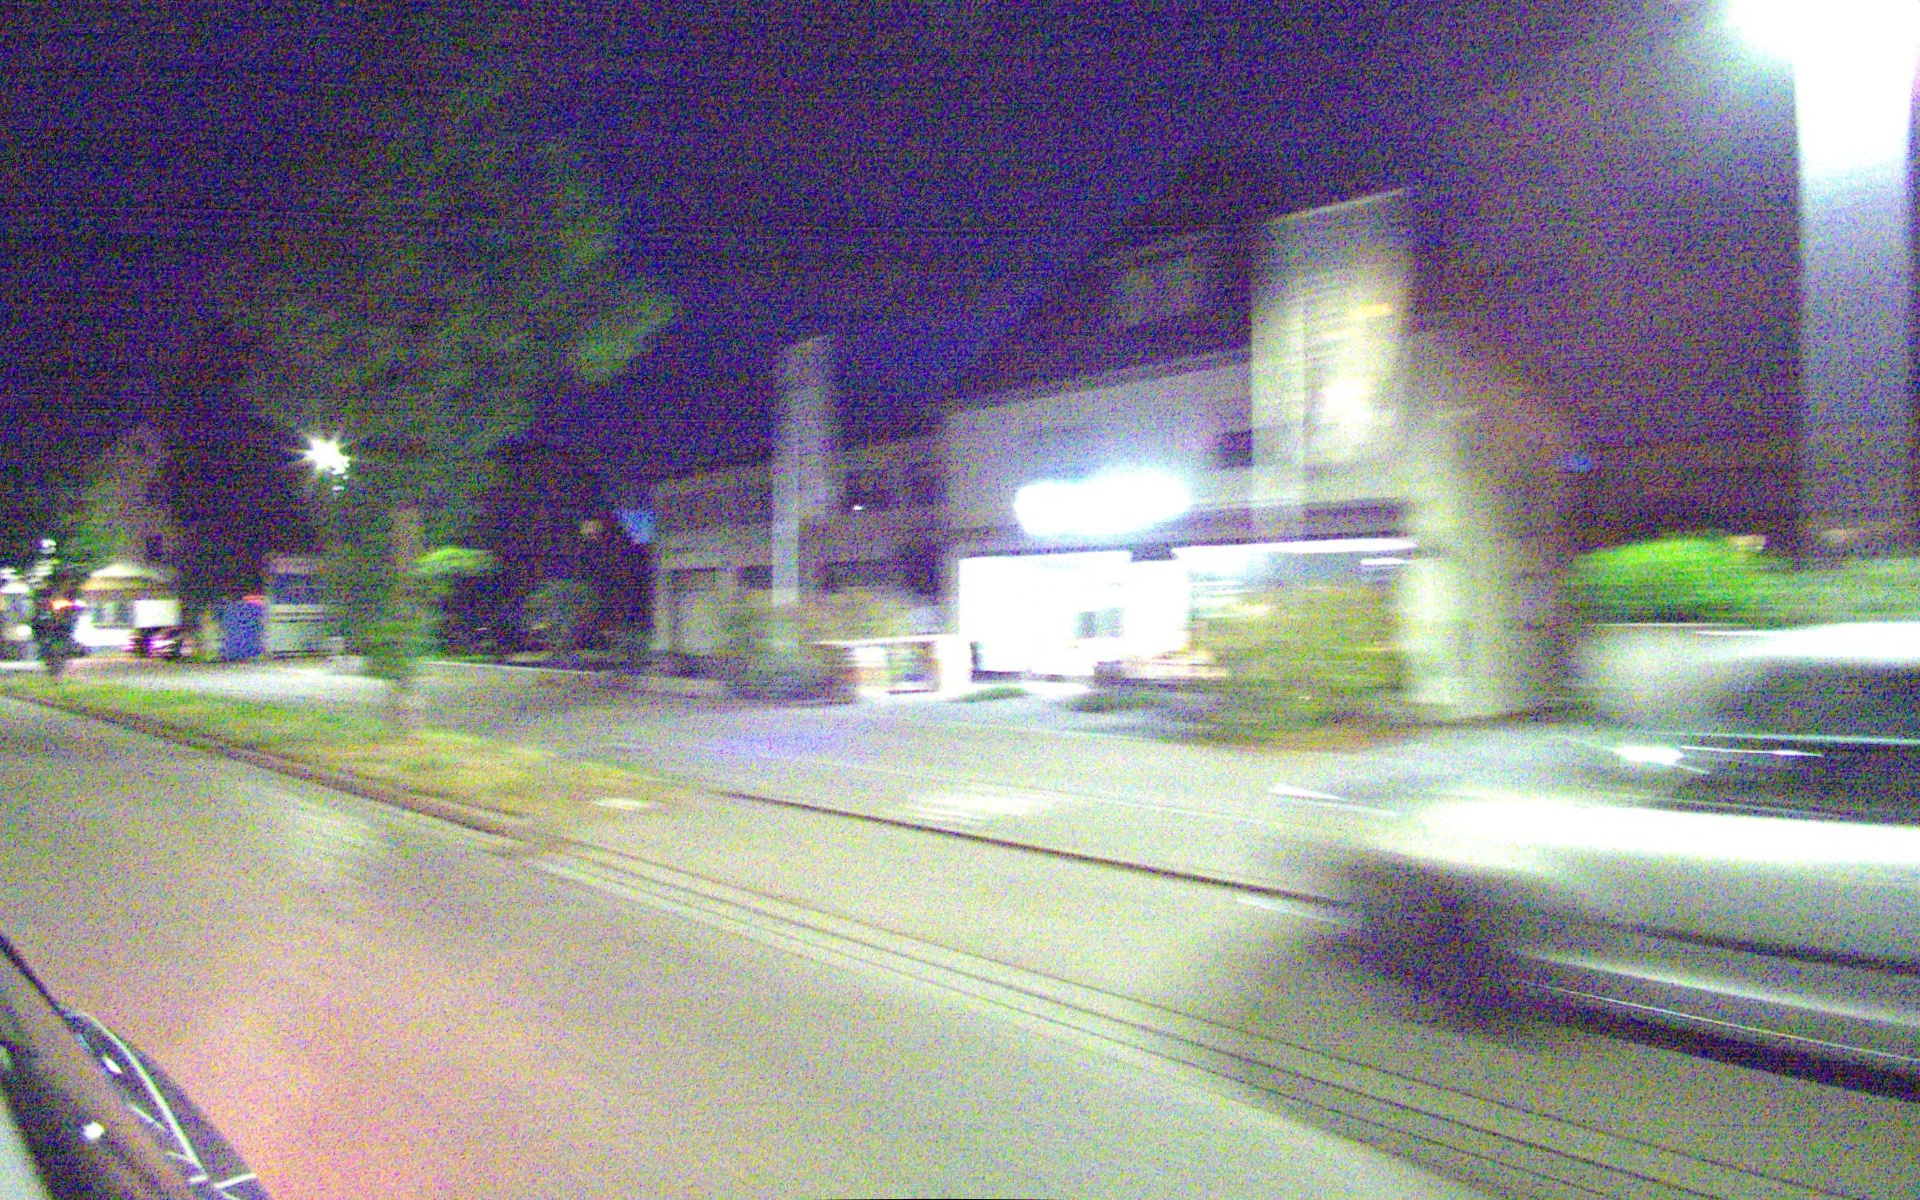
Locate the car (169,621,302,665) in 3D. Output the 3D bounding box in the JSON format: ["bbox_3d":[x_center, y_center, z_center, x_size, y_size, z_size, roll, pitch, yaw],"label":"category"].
[{"bbox_3d":[-29.433,1.785,41.222,1.942,1.716,3.955,-2,-4,33],"label":"car"}]

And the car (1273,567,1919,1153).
[{"bbox_3d":[3.283,0.702,3.296,3.983,1.603,1.656,-2,-1,40],"label":"car"}]

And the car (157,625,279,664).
[{"bbox_3d":[-33.471,2.016,45.725,1.999,1.675,4.072,-2,-4,41],"label":"car"}]

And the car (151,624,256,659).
[{"bbox_3d":[-37.729,2.056,50.517,2.000,1.630,3.943,-2,-2,43],"label":"car"}]

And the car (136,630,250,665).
[{"bbox_3d":[-35.893,2.187,47.416,1.999,1.475,3.945,-2,-1,41],"label":"car"}]

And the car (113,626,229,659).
[{"bbox_3d":[-40.245,2.153,51.743,2.023,1.573,4.277,-2,-2,33],"label":"car"}]

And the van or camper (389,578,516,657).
[{"bbox_3d":[-19.321,0.687,38.405,5.923,2.768,2.054,-2,-1,39],"label":"van or camper"}]
